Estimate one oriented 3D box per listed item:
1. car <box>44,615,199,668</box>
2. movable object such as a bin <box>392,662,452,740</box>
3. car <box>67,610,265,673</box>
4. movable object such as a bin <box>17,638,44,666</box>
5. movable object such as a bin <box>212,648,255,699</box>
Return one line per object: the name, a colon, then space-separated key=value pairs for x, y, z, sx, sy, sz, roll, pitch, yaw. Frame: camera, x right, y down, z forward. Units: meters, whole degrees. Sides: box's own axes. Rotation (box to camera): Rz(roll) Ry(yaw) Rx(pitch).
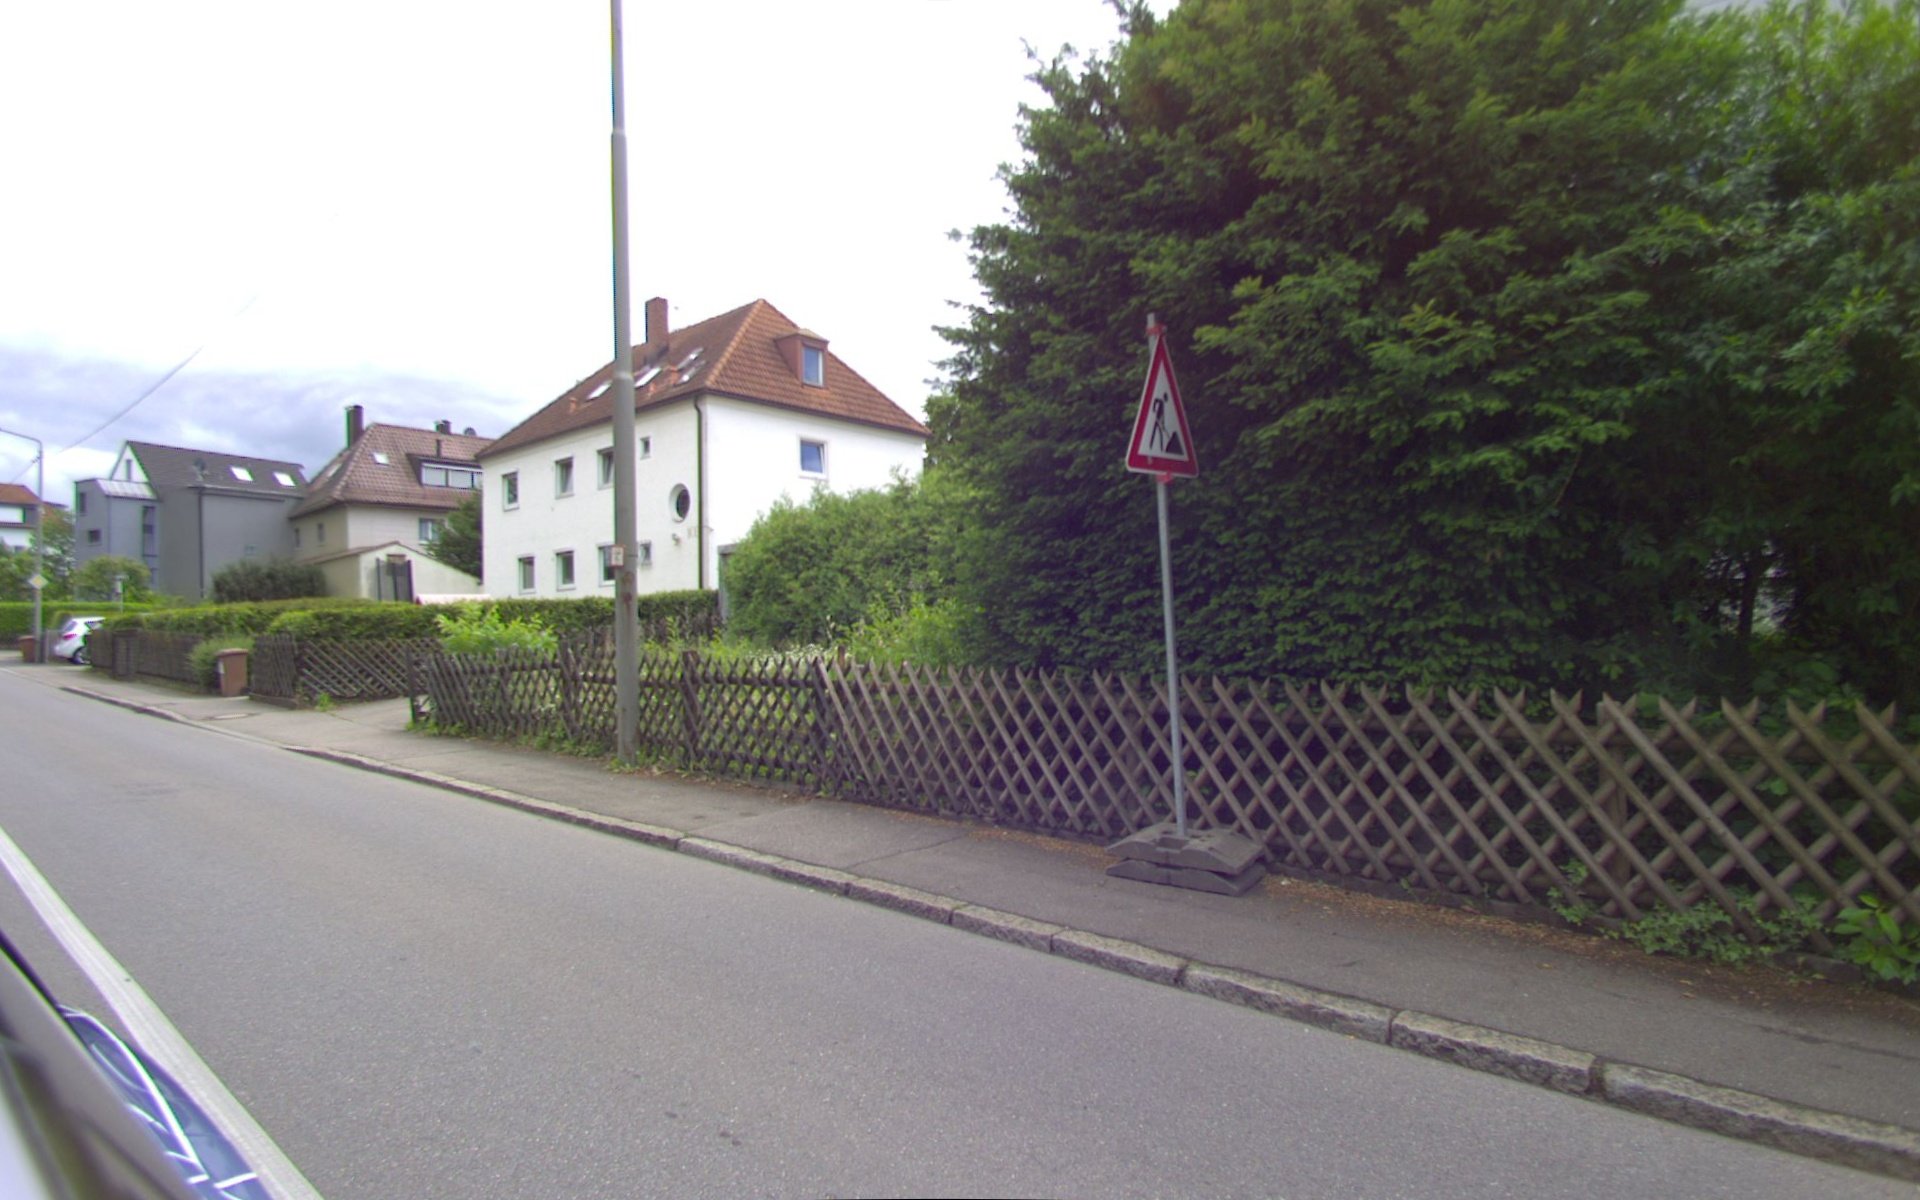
car: x=-29.329 y=1.410 z=35.498 sx=1.718 sy=1.606 sz=3.946 roll=-1 pitch=1 yaw=41
movable object such as a bin: x=-6.946 y=1.285 z=13.065 sx=0.537 sy=0.945 sz=0.544 roll=-1 pitch=-2 yaw=43
car: x=-25.068 y=1.260 z=32.095 sx=1.881 sy=1.682 sz=4.624 roll=-1 pitch=1 yaw=39
movable object such as a bin: x=-32.782 y=1.826 z=35.692 sx=0.572 sy=0.961 sz=0.680 roll=-1 pitch=-2 yaw=44
movable object such as a bin: x=-14.002 y=1.407 z=19.509 sx=0.625 sy=0.920 sz=0.561 roll=-1 pitch=0 yaw=-39
